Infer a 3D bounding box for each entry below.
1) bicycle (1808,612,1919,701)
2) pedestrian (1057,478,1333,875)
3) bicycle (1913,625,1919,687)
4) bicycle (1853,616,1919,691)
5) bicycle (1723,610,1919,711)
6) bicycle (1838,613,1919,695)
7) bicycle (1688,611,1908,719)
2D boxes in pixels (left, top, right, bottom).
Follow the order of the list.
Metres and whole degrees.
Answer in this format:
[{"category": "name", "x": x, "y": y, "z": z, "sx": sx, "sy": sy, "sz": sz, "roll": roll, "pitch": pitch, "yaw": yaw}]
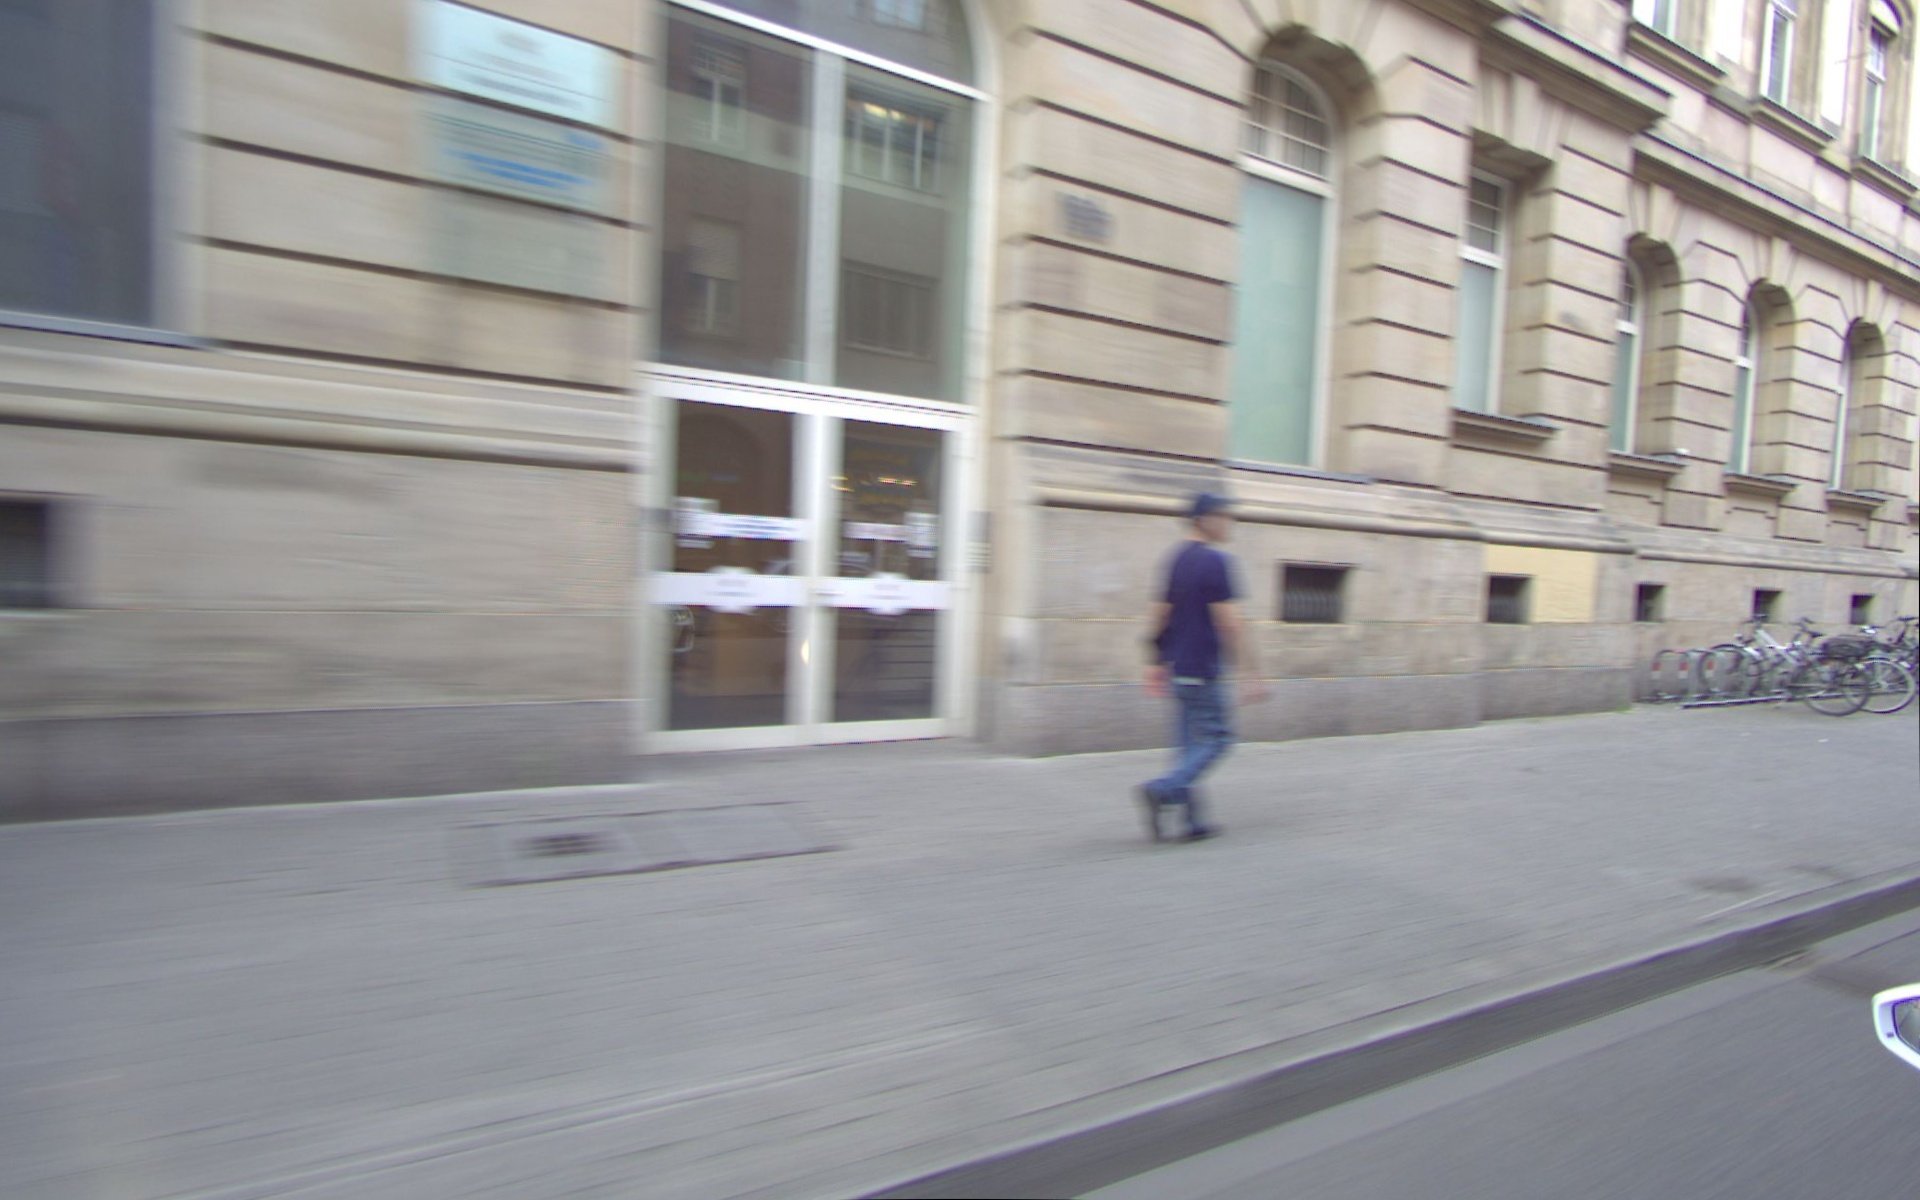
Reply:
[{"category": "bicycle", "x": 13.217, "y": 0.810, "z": 14.163, "sx": 0.495, "sy": 1.122, "sz": 1.782, "roll": 1, "pitch": 4, "yaw": -35}, {"category": "pedestrian", "x": 1.161, "y": 0.332, "z": 5.052, "sx": 0.958, "sy": 1.774, "sz": 0.805, "roll": 1, "pitch": 3, "yaw": -30}, {"category": "bicycle", "x": 16.009, "y": 0.913, "z": 15.350, "sx": 0.613, "sy": 1.076, "sz": 1.927, "roll": 2, "pitch": 3, "yaw": -31}, {"category": "bicycle", "x": 14.914, "y": 0.866, "z": 15.207, "sx": 0.613, "sy": 1.076, "sz": 1.924, "roll": 1, "pitch": 4, "yaw": -35}, {"category": "bicycle", "x": 11.282, "y": 0.744, "z": 13.135, "sx": 0.613, "sy": 1.076, "sz": 1.924, "roll": 1, "pitch": 4, "yaw": -35}, {"category": "bicycle", "x": 14.216, "y": 0.827, "z": 14.806, "sx": 0.495, "sy": 1.122, "sz": 1.782, "roll": 1, "pitch": 4, "yaw": -35}, {"category": "bicycle", "x": 10.273, "y": 0.754, "z": 12.410, "sx": 0.612, "sy": 1.076, "sz": 1.927, "roll": 1, "pitch": 3, "yaw": -30}]
